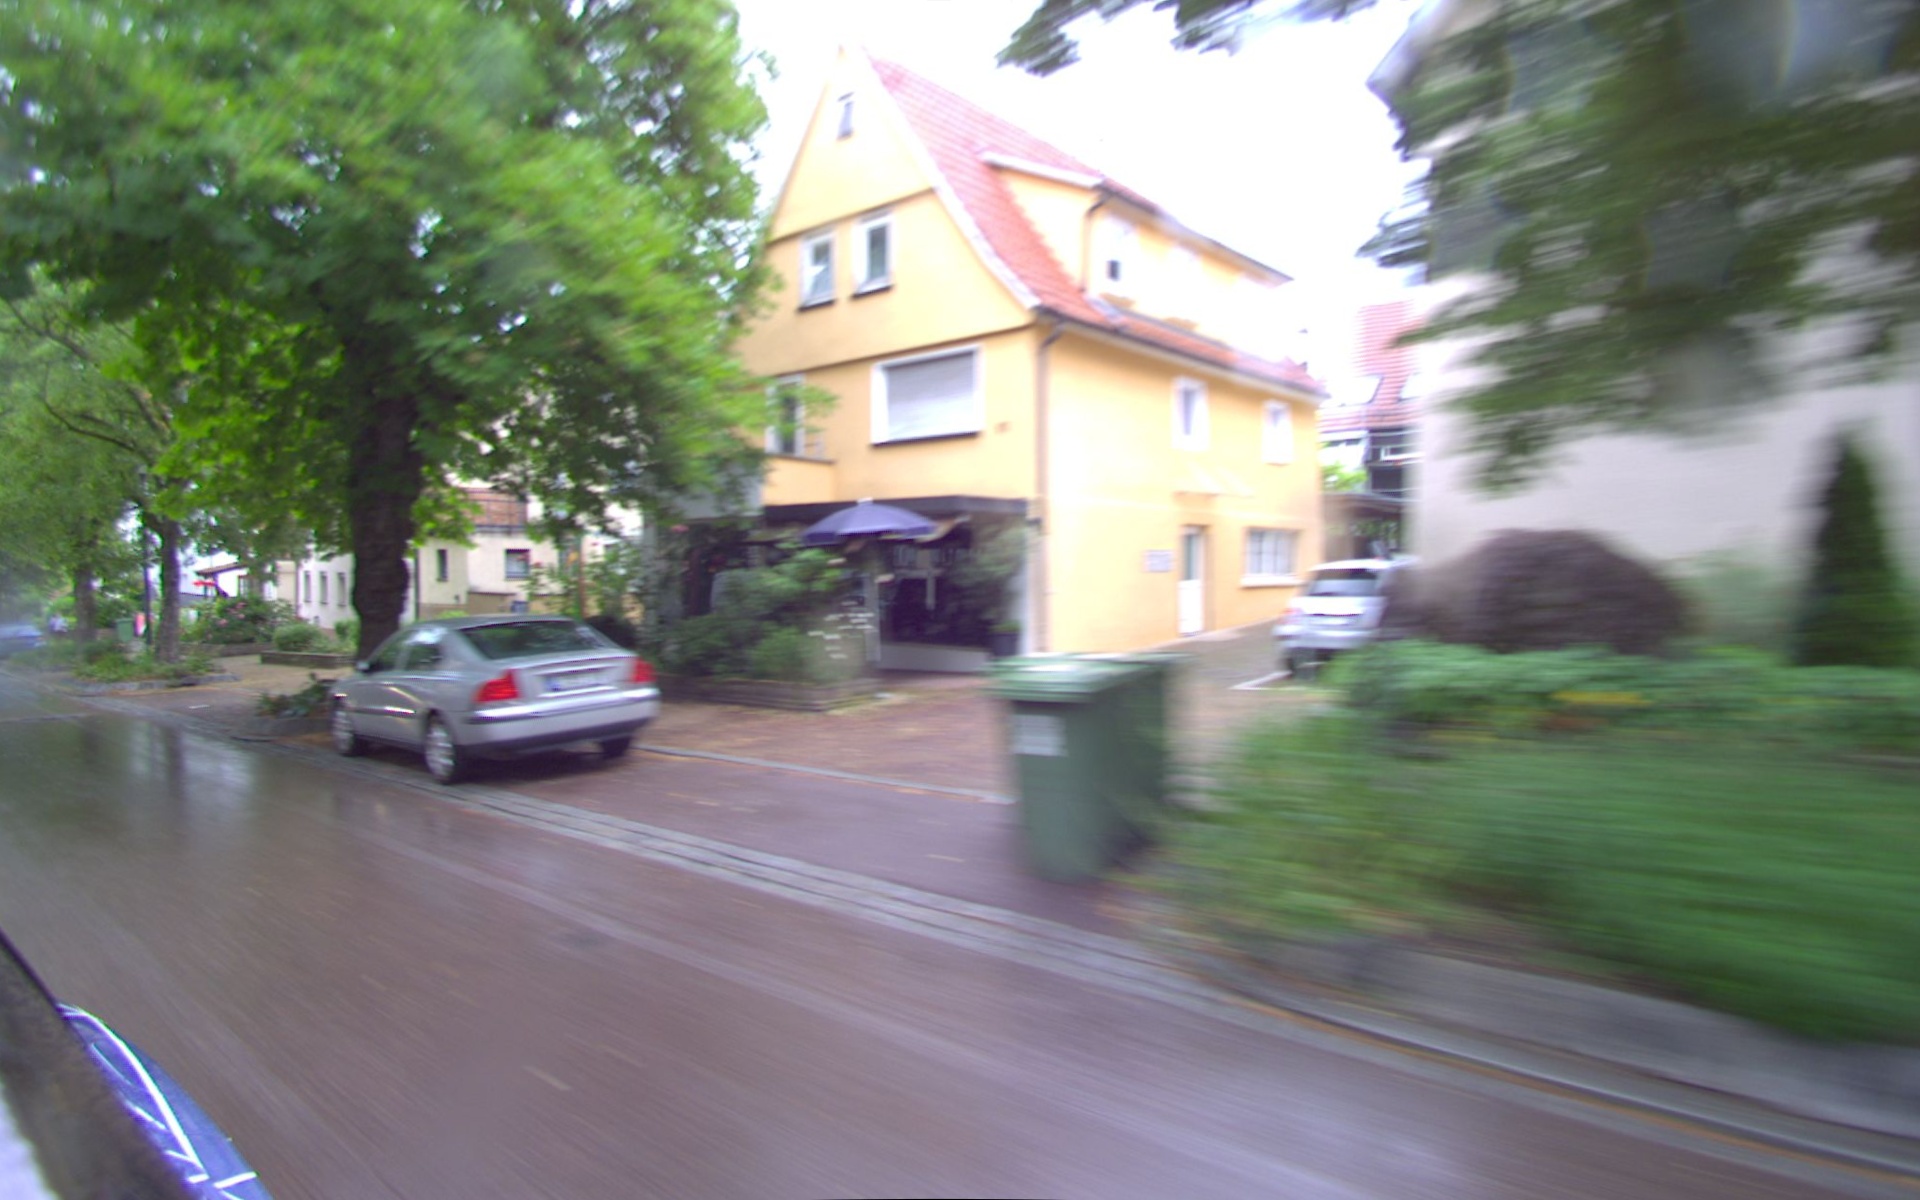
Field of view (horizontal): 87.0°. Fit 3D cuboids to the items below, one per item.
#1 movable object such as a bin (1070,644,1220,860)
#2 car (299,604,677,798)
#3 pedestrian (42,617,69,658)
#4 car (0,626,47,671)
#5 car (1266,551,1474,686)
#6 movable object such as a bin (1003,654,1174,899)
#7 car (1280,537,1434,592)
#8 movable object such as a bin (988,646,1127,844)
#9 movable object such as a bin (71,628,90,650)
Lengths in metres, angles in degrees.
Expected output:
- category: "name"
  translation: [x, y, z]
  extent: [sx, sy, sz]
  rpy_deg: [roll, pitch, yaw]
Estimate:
- category: "movable object such as a bin"
  translation: [1.037, 0.809, 5.661]
  extent: [0.545, 1.070, 0.588]
  rpy_deg: [-2, 2, 45]
- category: "car"
  translation: [-4.862, 0.843, 10.069]
  extent: [4.545, 1.399, 1.753]
  rpy_deg: [-2, 2, 43]
- category: "pedestrian"
  translation: [-36.537, 1.514, 40.877]
  extent: [0.932, 1.606, 0.643]
  rpy_deg: [-2, 1, 41]
- category: "car"
  translation: [-32.532, 1.629, 34.465]
  extent: [3.795, 1.406, 1.731]
  rpy_deg: [-1, 1, 42]
- category: "car"
  translation: [5.821, 0.177, 14.156]
  extent: [1.636, 1.488, 3.535]
  rpy_deg: [-2, 4, 40]
- category: "movable object such as a bin"
  translation: [0.649, 0.843, 5.101]
  extent: [0.545, 1.070, 0.588]
  rpy_deg: [-2, 2, 45]
- category: "car"
  translation: [12.077, -1.071, 30.969]
  extent: [1.747, 1.503, 4.003]
  rpy_deg: [-5, 3, -44]
- category: "movable object such as a bin"
  translation: [0.591, 0.840, 6.124]
  extent: [0.545, 1.070, 0.588]
  rpy_deg: [-2, 2, 45]
- category: "movable object such as a bin"
  translation: [-47.370, 2.096, 54.509]
  extent: [0.659, 1.141, 0.655]
  rpy_deg: [-2, 1, 44]
